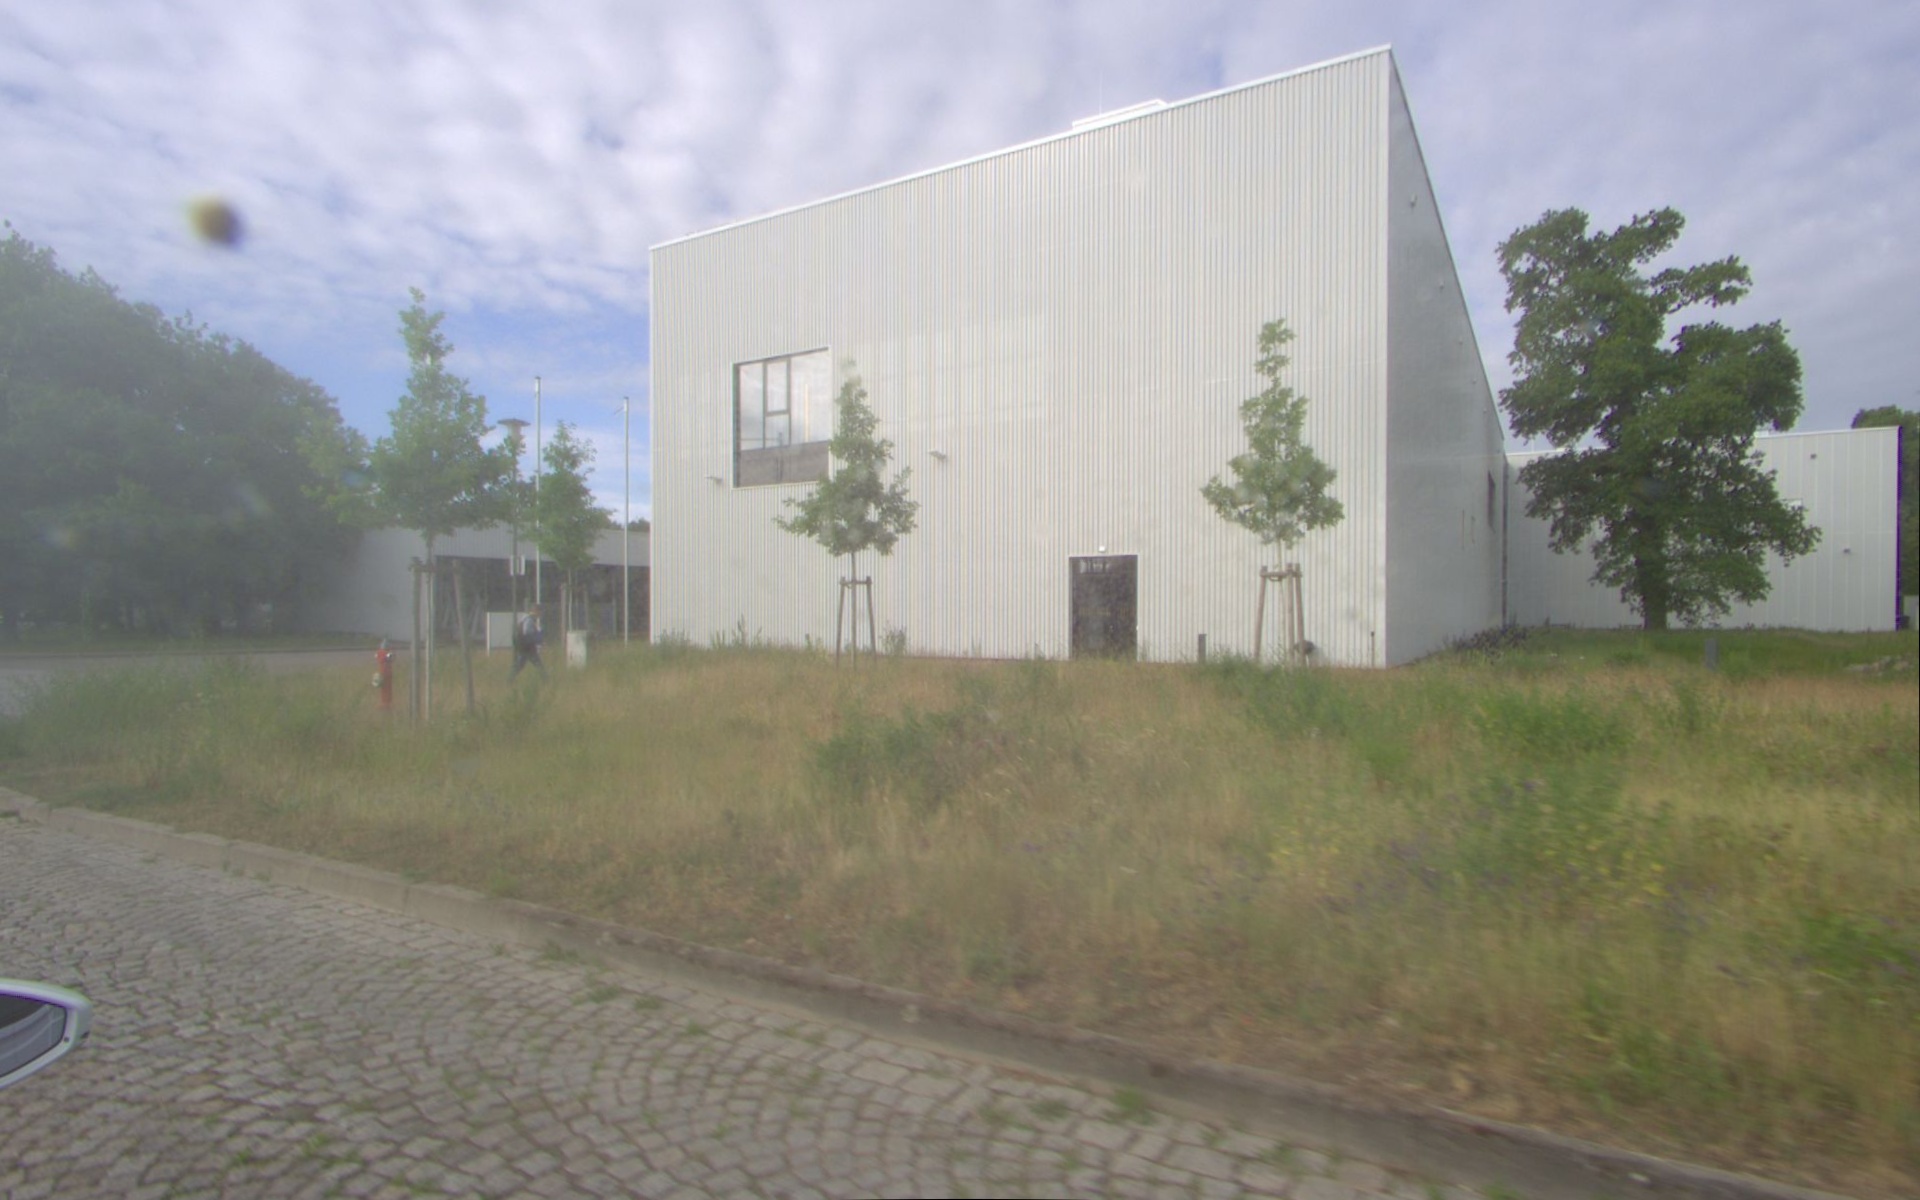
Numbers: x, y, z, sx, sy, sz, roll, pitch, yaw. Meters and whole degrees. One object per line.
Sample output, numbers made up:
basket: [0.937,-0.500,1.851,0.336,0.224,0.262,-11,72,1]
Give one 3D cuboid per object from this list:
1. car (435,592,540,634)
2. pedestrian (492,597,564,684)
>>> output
car: [-23.990,0.642,50.801,5.257,2.040,2.238,0,0,31]
pedestrian: [-8.185,0.742,18.973,1.065,1.577,1.068,0,0,-35]
